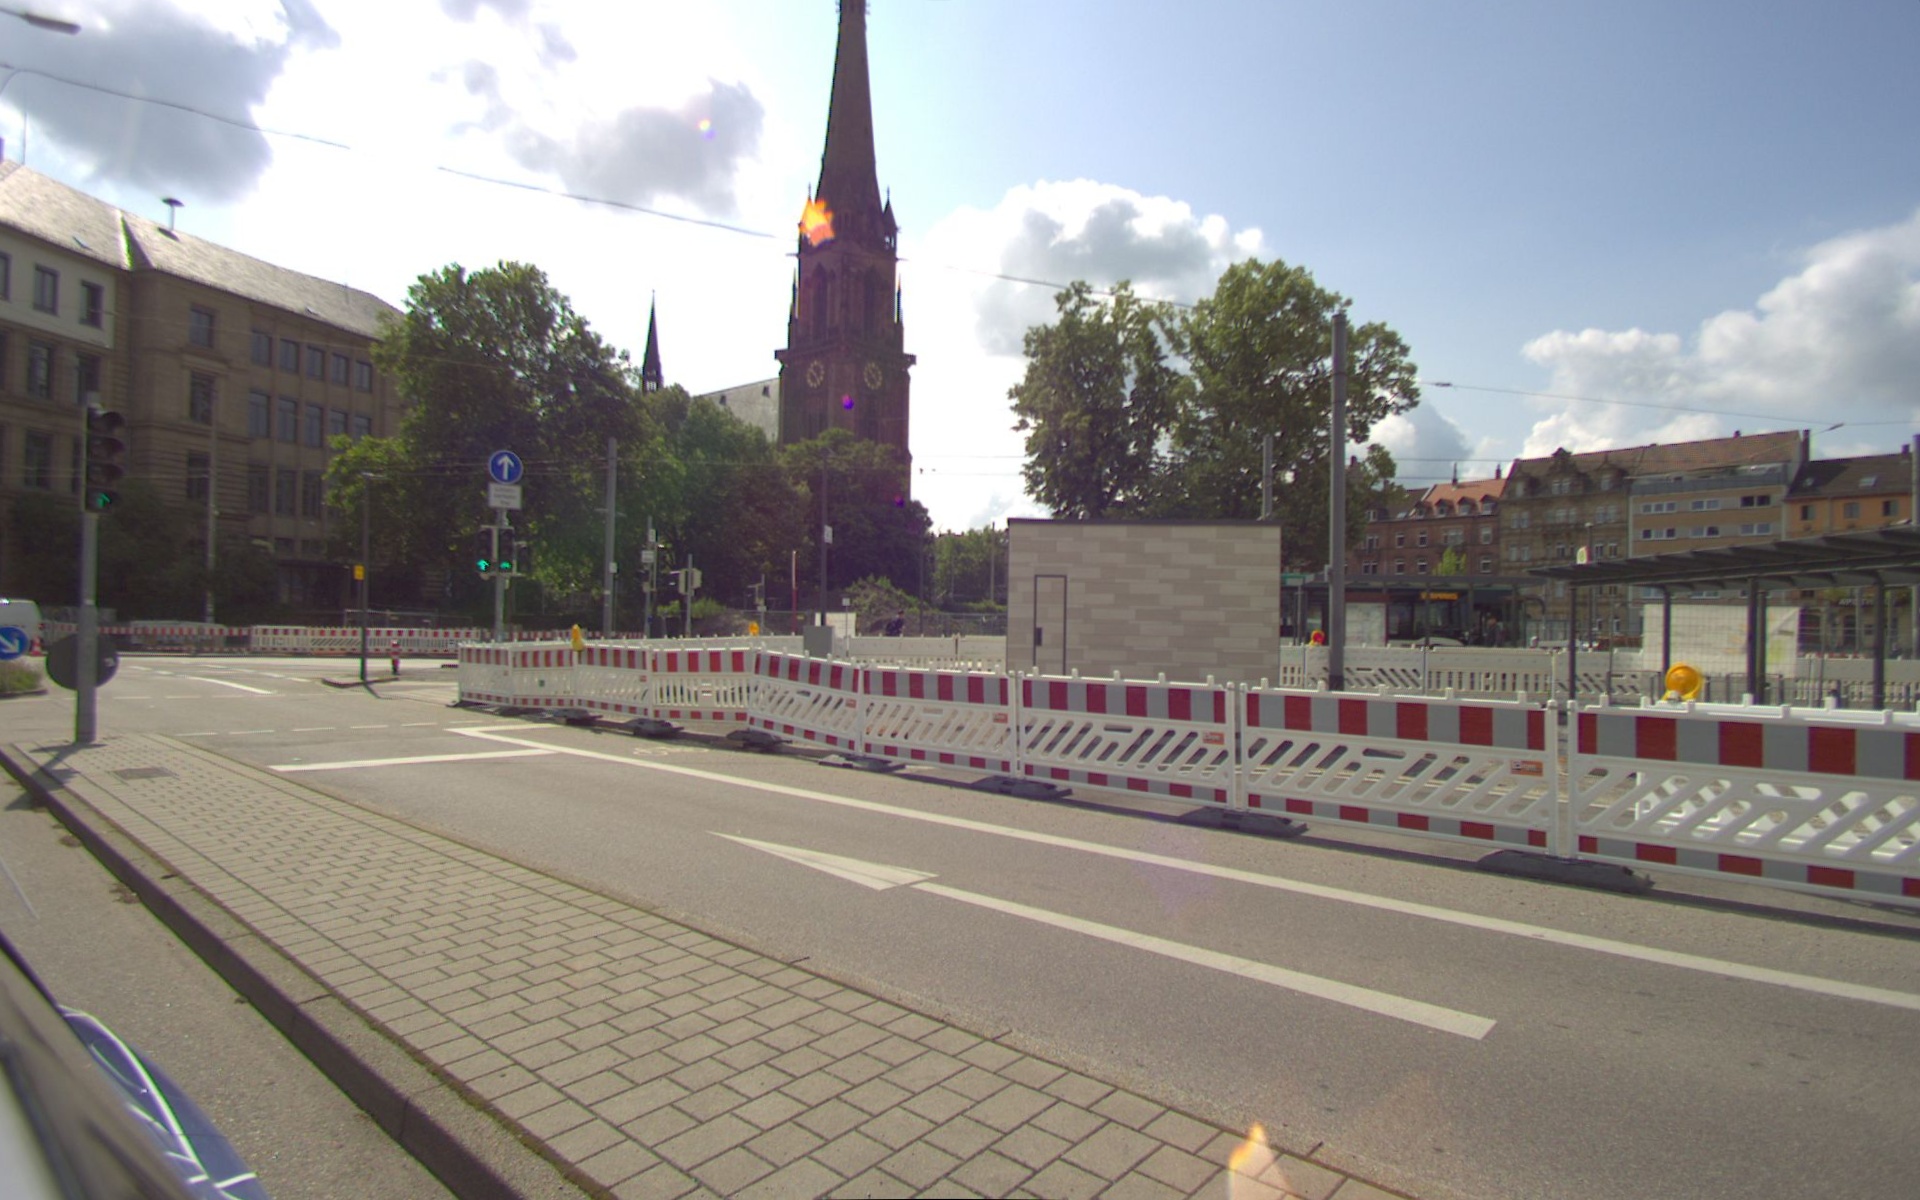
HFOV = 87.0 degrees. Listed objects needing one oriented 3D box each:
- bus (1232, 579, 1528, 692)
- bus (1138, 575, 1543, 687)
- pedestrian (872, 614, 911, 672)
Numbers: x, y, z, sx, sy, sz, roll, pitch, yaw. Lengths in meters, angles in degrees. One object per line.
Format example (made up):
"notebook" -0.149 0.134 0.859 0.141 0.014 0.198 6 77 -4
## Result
"bus" 12.207 1.011 29.989 7.670 3.081 2.369 1 -2 7
"bus" 11.966 0.981 33.005 11.930 3.287 2.987 1 -2 7
"pedestrian" -2.085 1.317 30.939 0.834 1.719 1.202 0 -2 14
